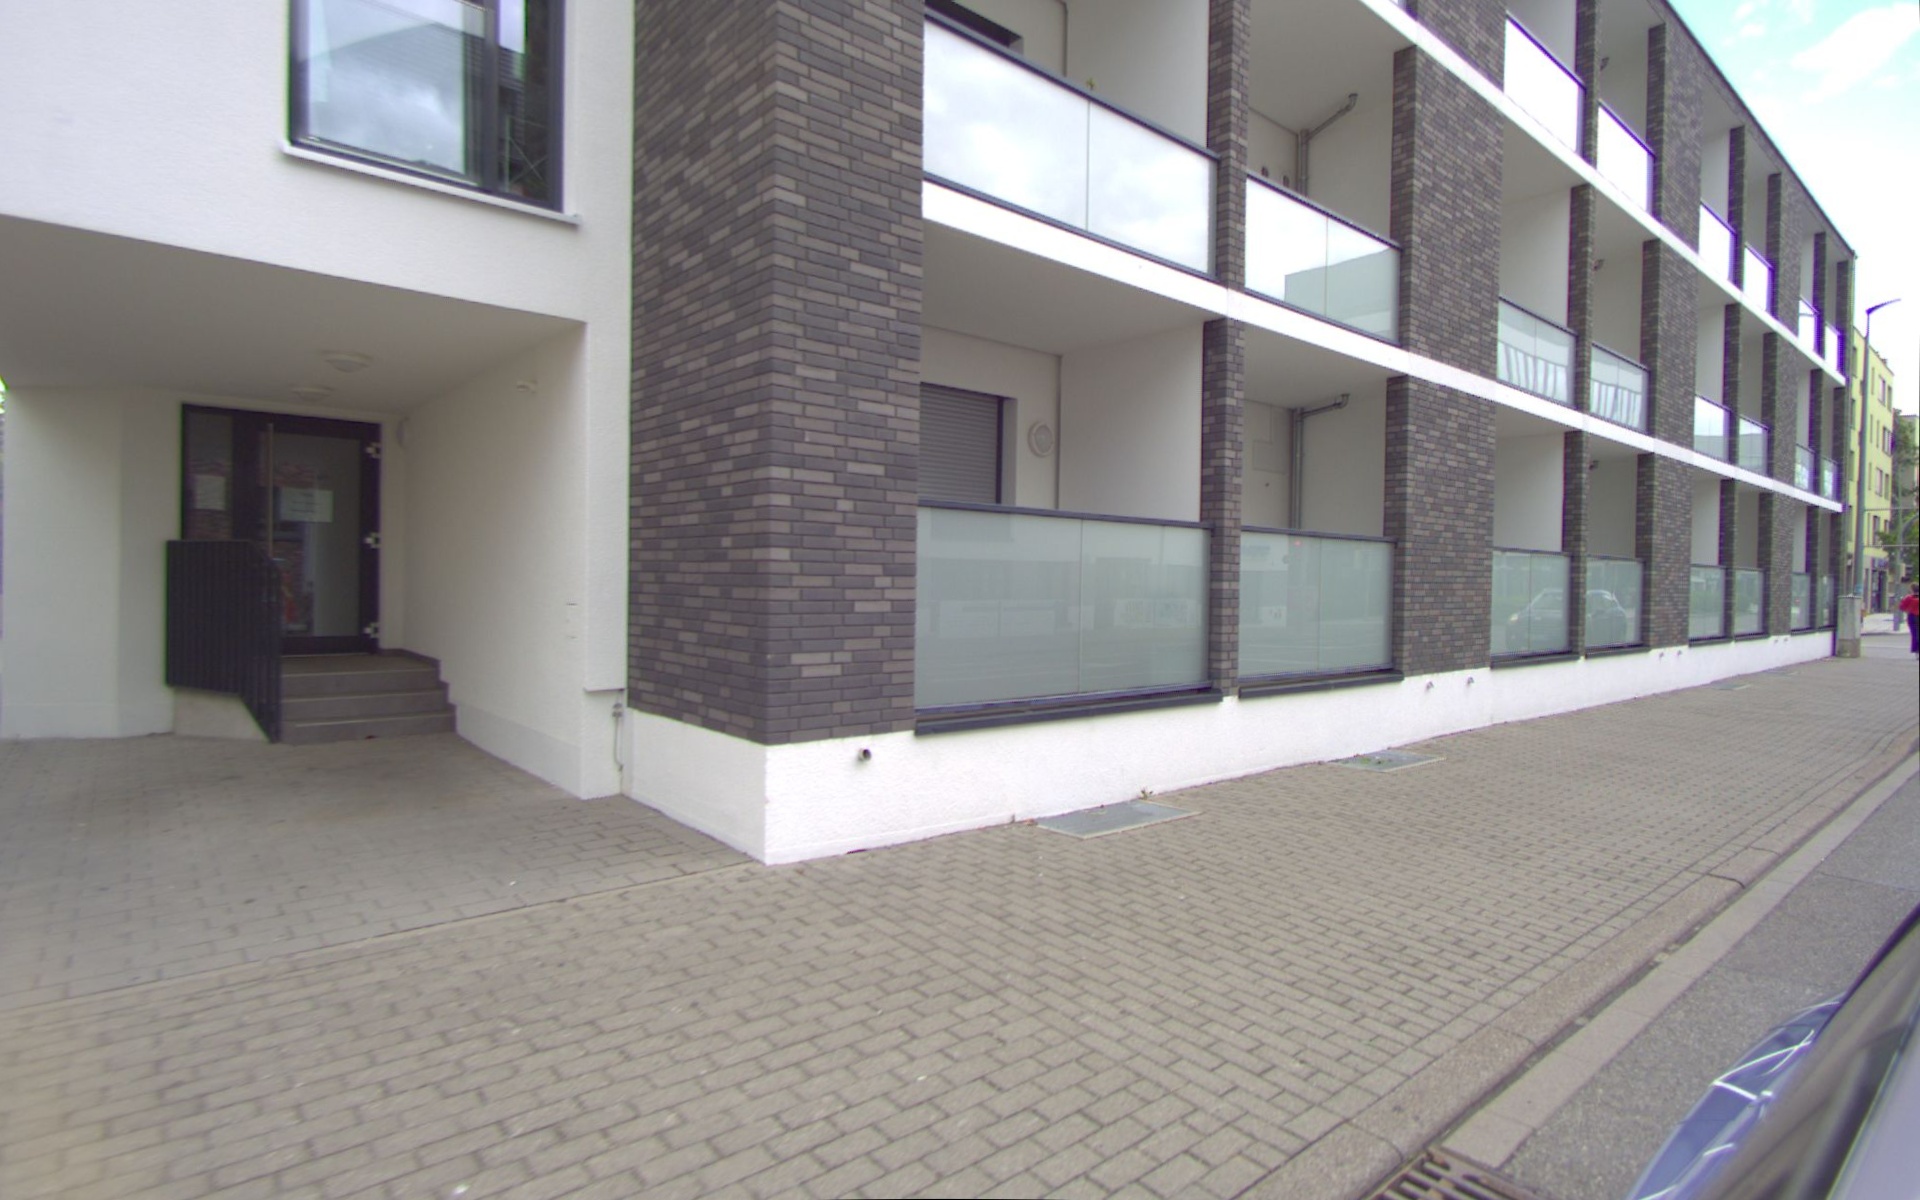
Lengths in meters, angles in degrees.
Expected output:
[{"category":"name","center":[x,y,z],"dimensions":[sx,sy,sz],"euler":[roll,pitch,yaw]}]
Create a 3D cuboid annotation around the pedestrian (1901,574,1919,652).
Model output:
[{"category":"pedestrian","center":[22.243,0.297,23.160],"dimensions":[0.885,1.763,0.937],"euler":[0,1,-41]}]
